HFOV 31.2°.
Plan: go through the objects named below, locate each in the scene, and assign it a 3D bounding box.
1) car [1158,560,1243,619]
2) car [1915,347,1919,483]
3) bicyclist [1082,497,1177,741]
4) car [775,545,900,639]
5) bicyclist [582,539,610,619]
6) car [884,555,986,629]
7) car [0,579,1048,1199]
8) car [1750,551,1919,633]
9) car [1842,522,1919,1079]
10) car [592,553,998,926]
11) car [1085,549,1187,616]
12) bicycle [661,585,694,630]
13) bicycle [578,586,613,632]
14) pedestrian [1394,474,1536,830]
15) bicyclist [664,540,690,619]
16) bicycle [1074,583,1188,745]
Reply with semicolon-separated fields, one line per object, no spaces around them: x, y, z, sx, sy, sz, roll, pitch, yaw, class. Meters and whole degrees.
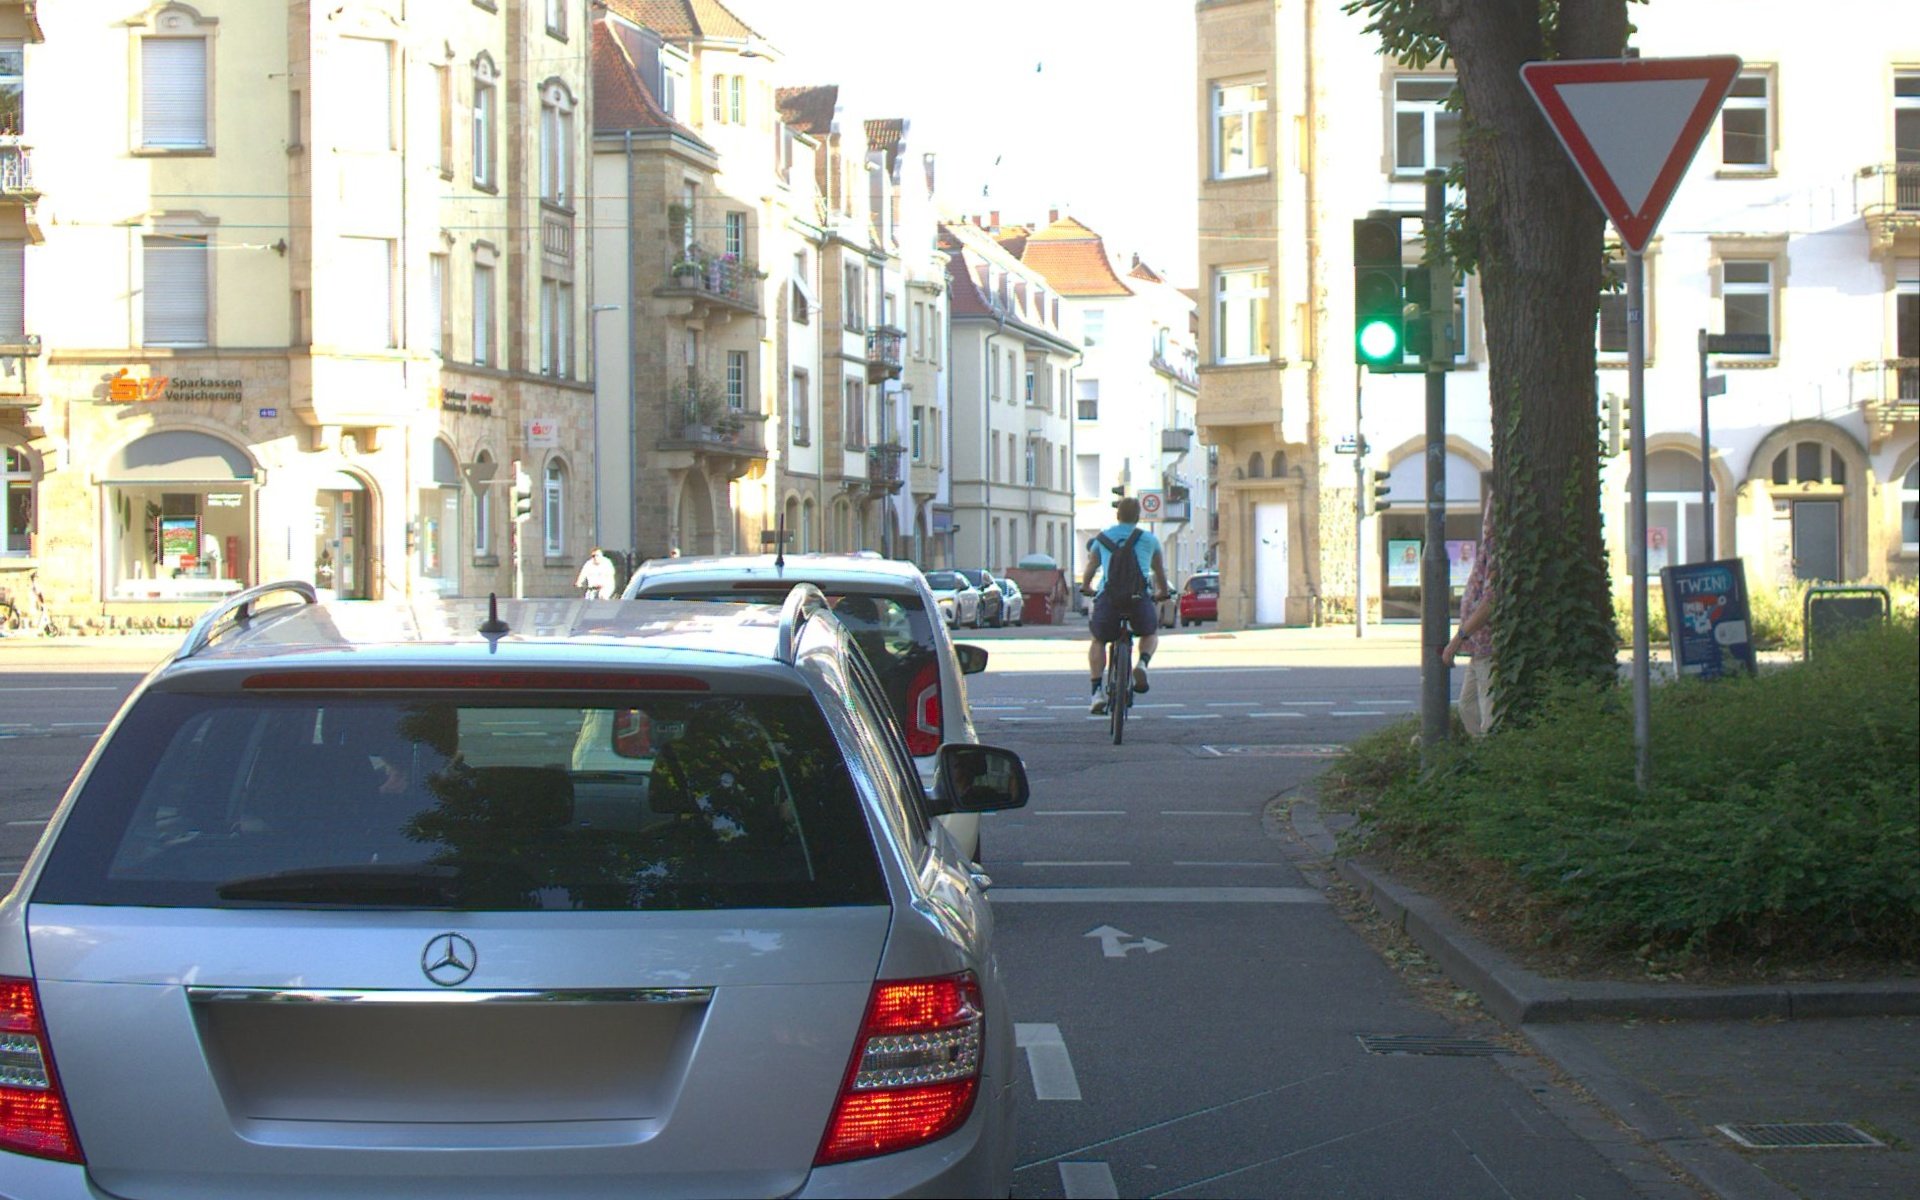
6.925;-0.310;98.608;1.722;1.473;3.998;-4;1;13;car
4.424;0.341;6.796;4.490;1.949;1.793;-2;1;-2;car
1.253;0.133;25.492;0.646;1.769;0.831;1;0;0;bicyclist
-2.598;-0.206;74.006;1.938;1.952;4.149;0;1;9;car
-6.902;-0.399;65.198;0.466;1.509;0.655;0;1;-3;bicyclist
-0.586;-0.208;83.263;1.687;1.716;3.998;0;1;11;car
-0.793;0.705;6.580;1.690;1.424;3.493;1;1;-2;car
12.470;-0.122;46.232;3.364;1.065;1.380;0;1;0;car
4.470;0.529;9.600;3.480;1.580;1.711;-2;1;-5;car
-0.659;0.508;14.858;1.533;1.386;3.599;0;1;-1;car
4.265;-0.432;82.748;1.722;1.473;3.998;-2;1;13;car
-5.418;0.143;65.978;0.568;0.832;1.566;0;1;-3;bicycle
-6.910;0.169;65.213;0.568;0.832;1.566;0;1;-3;bicycle
2.646;0.262;18.052;0.631;1.838;0.575;0;1;-3;pedestrian
-5.432;-0.393;66.050;0.466;1.516;0.694;0;1;-3;bicyclist
1.250;0.450;25.513;0.742;1.114;2.013;1;1;0;bicycle
